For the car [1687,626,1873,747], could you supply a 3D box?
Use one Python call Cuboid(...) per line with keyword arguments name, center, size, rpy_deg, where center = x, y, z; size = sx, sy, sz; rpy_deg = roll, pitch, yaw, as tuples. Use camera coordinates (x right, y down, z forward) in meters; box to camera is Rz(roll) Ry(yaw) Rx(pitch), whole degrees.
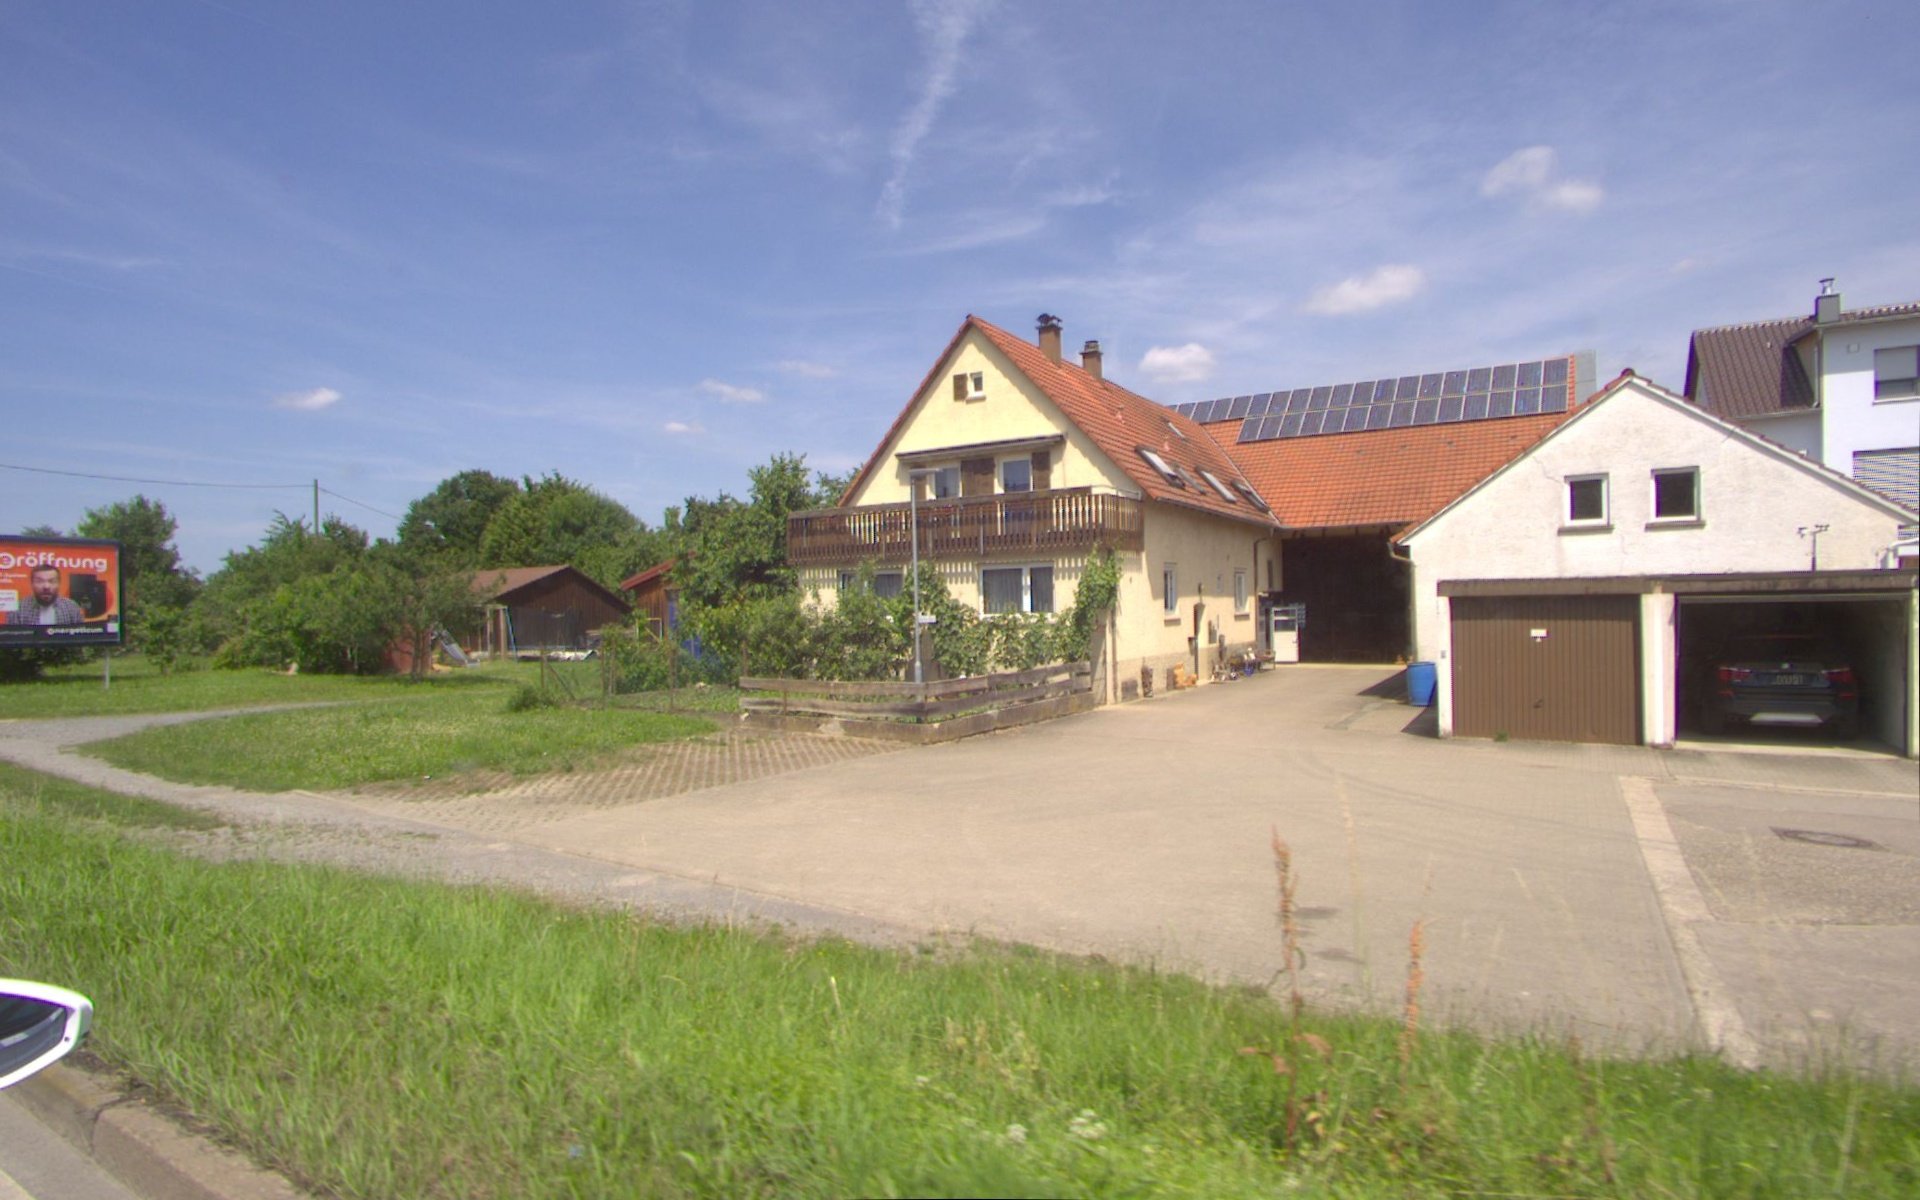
Cuboid(name="car", center=(13.071, 1.277, 16.208), size=(1.808, 1.599, 3.979), rpy_deg=(-1, -1, 32))
